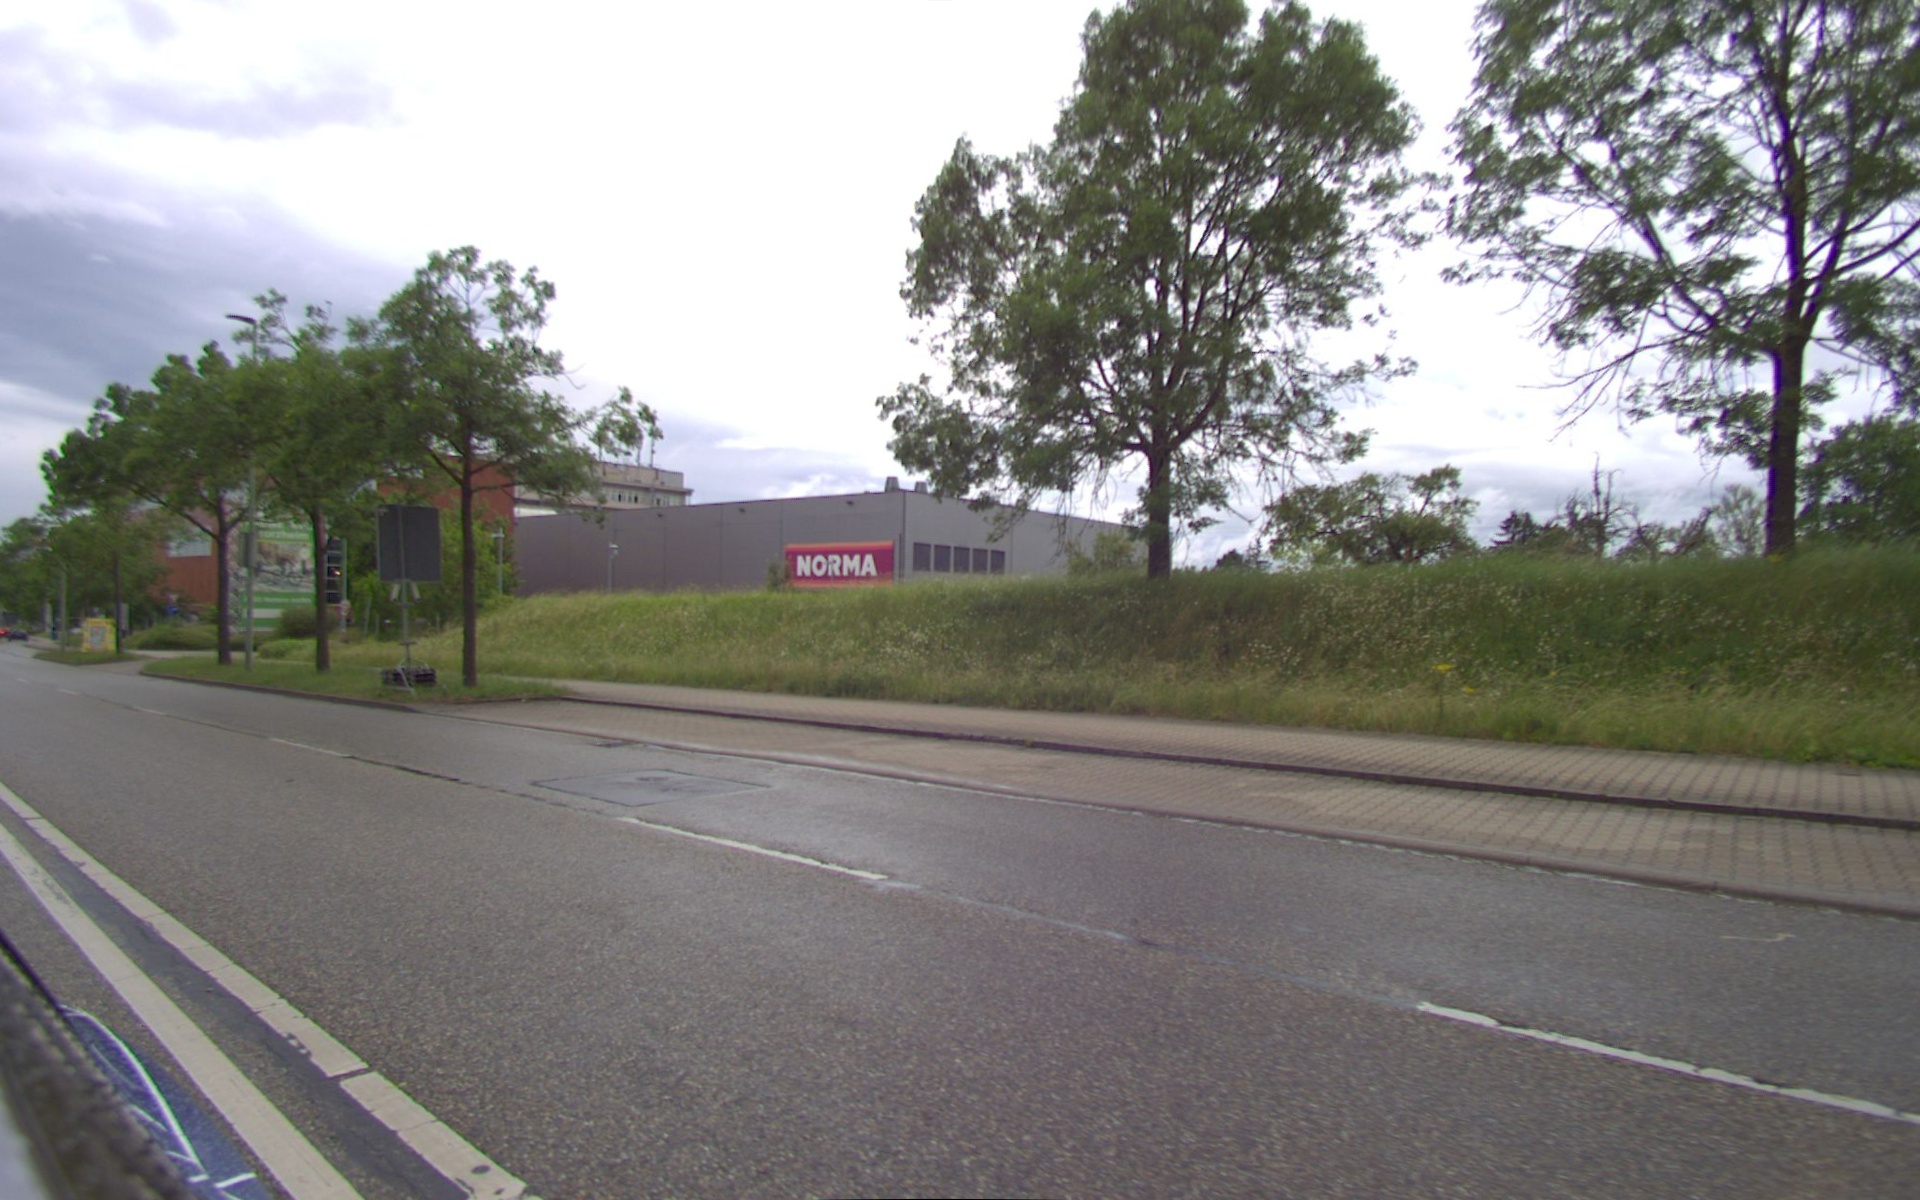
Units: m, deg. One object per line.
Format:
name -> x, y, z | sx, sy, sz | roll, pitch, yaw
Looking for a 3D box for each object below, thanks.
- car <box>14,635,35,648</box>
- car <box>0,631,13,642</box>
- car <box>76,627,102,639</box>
car -> -111.165, 4.962, 120.304 | 1.716, 1.465, 4.003 | 3, -4, -43
car -> -133.505, 5.118, 141.307 | 1.656, 1.518, 4.219 | 3, -3, -44
car -> -122.815, 4.667, 142.671 | 4.431, 1.630, 1.811 | -1, -2, 36
